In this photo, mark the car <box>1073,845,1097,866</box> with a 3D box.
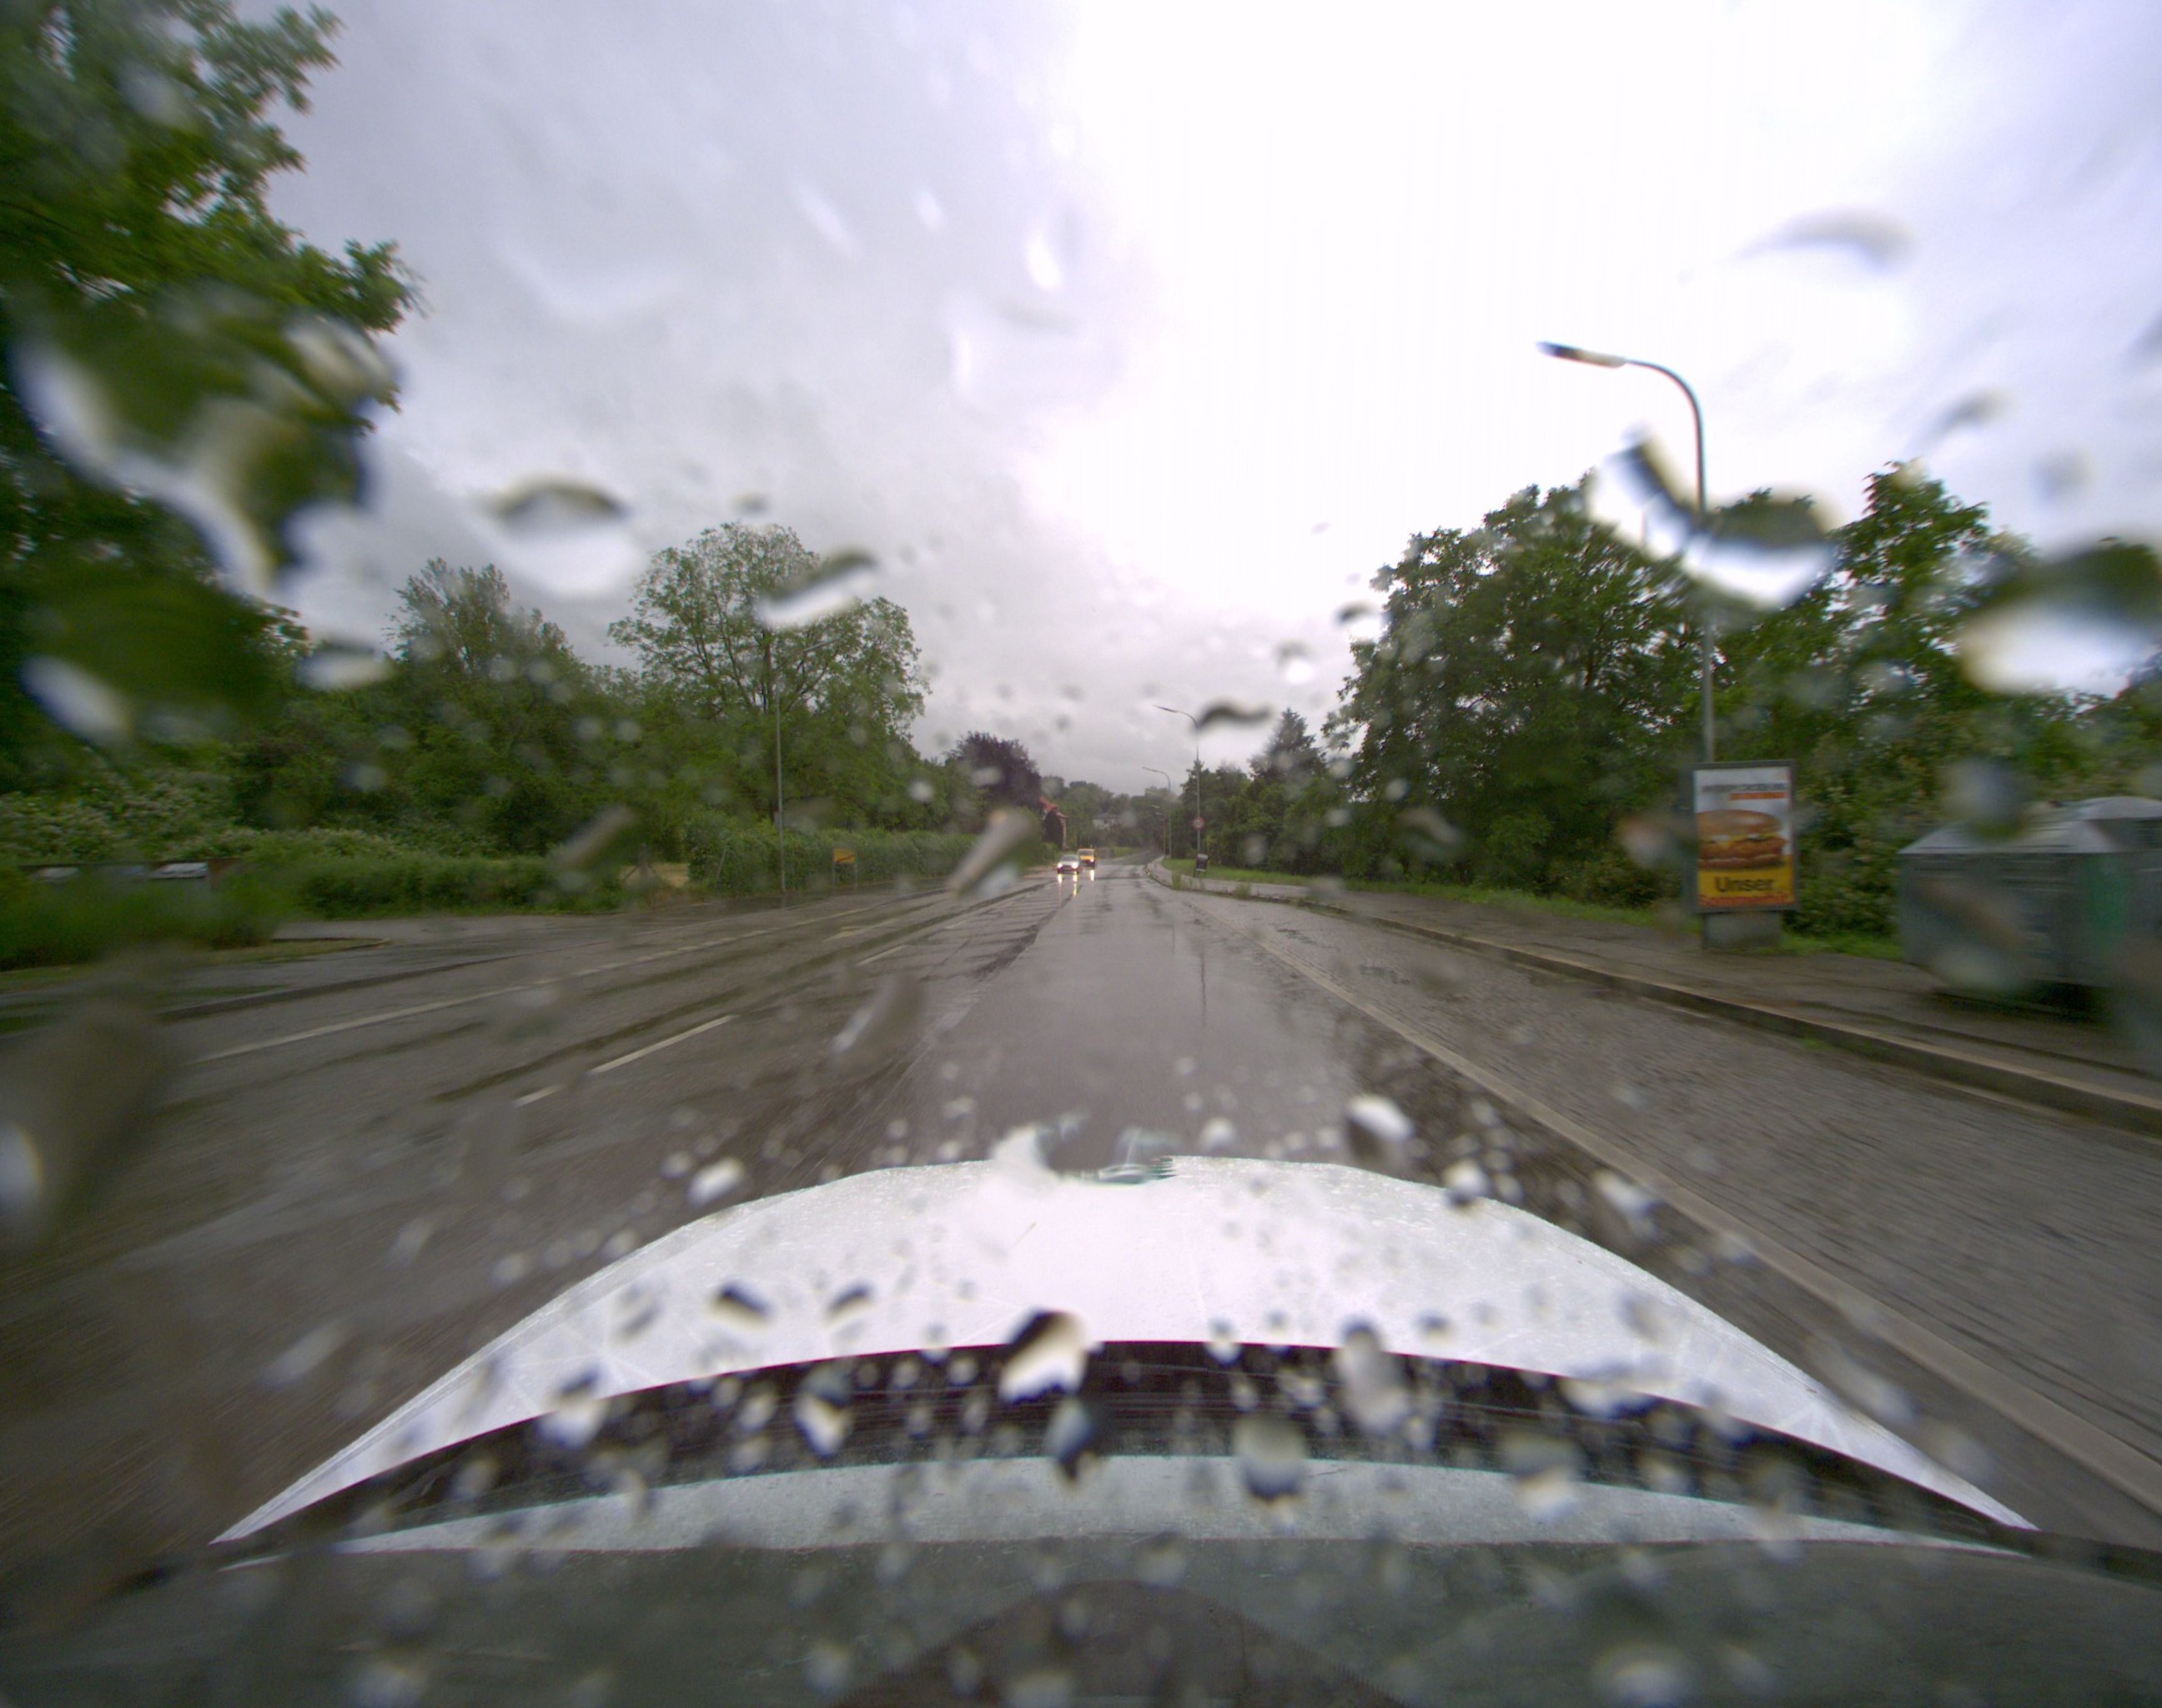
[{"bbox_3d":[0.402,0.140,78.170,1.928,1.871,5.043,0,0,5],"label":"car"}]

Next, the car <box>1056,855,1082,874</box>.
[{"bbox_3d":[-0.889,0.772,61.349,1.694,1.349,3.909,0,0,3],"label":"car"}]
